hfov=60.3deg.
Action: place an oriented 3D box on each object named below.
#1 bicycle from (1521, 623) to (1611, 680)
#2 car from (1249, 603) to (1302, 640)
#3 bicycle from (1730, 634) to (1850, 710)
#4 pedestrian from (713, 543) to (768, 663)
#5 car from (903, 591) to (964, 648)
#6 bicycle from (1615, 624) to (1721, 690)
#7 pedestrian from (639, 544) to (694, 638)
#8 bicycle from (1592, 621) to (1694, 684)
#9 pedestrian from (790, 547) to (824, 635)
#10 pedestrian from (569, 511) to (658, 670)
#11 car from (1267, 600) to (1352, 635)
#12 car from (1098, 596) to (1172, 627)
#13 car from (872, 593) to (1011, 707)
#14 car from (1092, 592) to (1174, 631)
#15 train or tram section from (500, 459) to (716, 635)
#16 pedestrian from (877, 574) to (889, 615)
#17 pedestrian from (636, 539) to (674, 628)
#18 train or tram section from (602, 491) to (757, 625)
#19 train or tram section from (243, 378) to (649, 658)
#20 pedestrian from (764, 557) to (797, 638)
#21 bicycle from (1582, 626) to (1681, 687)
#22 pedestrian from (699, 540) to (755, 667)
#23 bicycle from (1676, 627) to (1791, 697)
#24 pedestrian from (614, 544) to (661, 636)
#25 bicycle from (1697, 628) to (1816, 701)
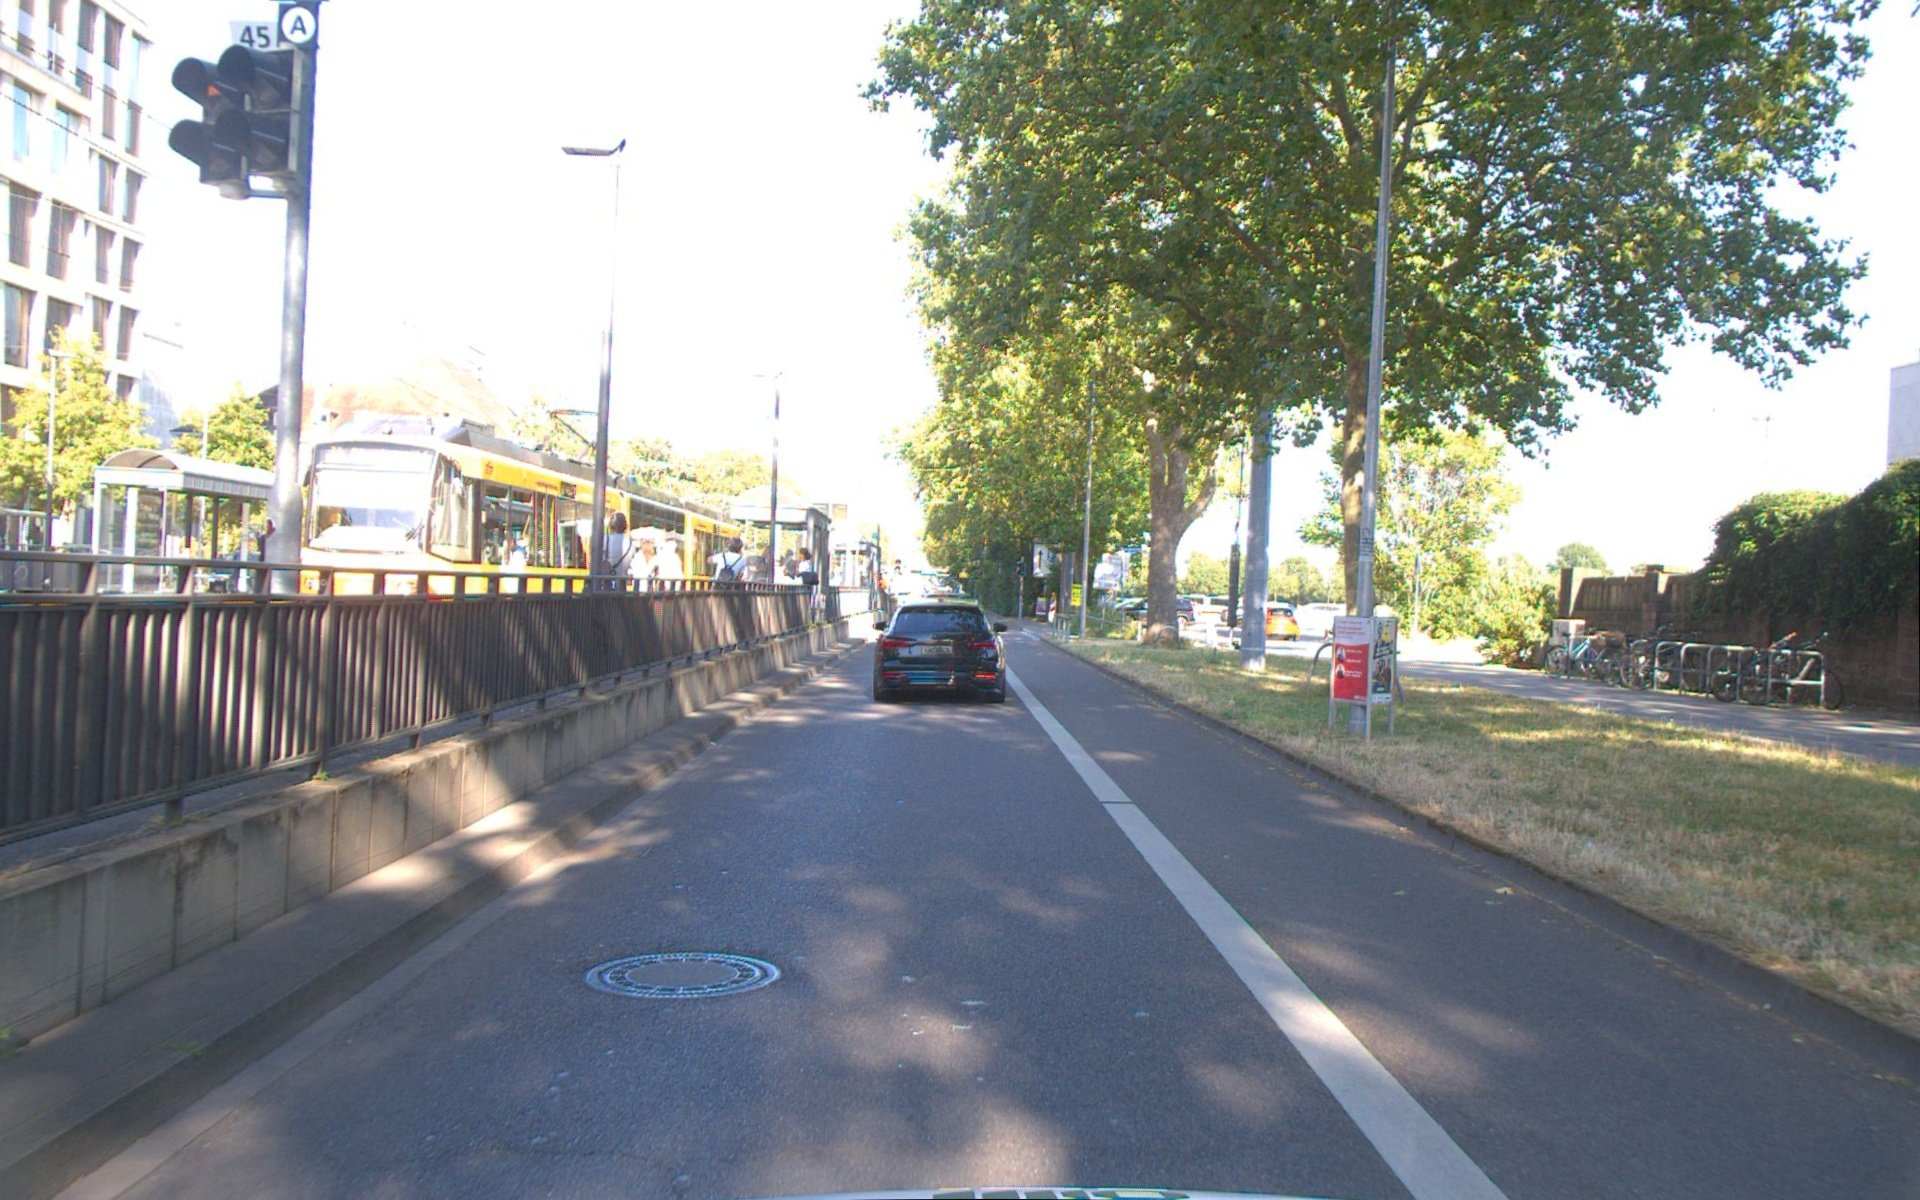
[{"bbox_3d":[12.609,1.079,34.408,1.740,1.140,0.439,1,0,-8],"label":"bicycle"},{"bbox_3d":[14.308,0.955,75.188,1.581,1.542,3.802,3,0,0],"label":"car"},{"bbox_3d":[12.983,1.127,25.883,1.653,1.140,0.439,1,0,-2],"label":"bicycle"},{"bbox_3d":[-3.148,0.040,23.731,0.602,1.671,0.610,3,0,-20],"label":"pedestrian"},{"bbox_3d":[-0.884,0.591,52.525,1.727,1.647,3.998,3,0,-3],"label":"car"},{"bbox_3d":[12.856,1.027,30.031,1.737,1.140,0.439,1,0,-2],"label":"bicycle"},{"bbox_3d":[-5.832,-0.183,32.832,0.788,1.815,0.639,3,0,-41],"label":"pedestrian"},{"bbox_3d":[12.851,0.988,31.117,1.737,1.140,0.439,1,0,-2],"label":"bicycle"},{"bbox_3d":[-3.250,-0.194,35.111,0.599,1.815,0.613,2,0,-1],"label":"pedestrian"},{"bbox_3d":[-3.542,-0.094,16.961,0.601,1.575,0.725,2,0,9],"label":"pedestrian"},{"bbox_3d":[19.506,0.968,92.430,4.365,1.687,1.918,3,0,3],"label":"car"},{"bbox_3d":[9.649,0.614,91.409,3.806,1.531,1.888,3,0,0],"label":"car"},{"bbox_3d":[-0.329,0.661,23.765,1.841,1.482,3.355,1,0,-3],"label":"car"},{"bbox_3d":[8.786,0.577,84.067,3.906,1.795,1.833,3,0,0],"label":"car"},{"bbox_3d":[-8.999,-1.243,44.075,3.242,3.896,11.841,3,0,-1],"label":"train or tram section"},{"bbox_3d":[-3.370,-0.244,72.235,0.403,1.746,0.665,3,0,-1],"label":"pedestrian"},{"bbox_3d":[-6.413,-0.346,34.805,0.599,1.815,0.775,2,0,-1],"label":"pedestrian"},{"bbox_3d":[-9.200,-1.284,55.923,3.242,3.896,11.841,3,0,-1],"label":"train or tram section"},{"bbox_3d":[-8.771,-1.206,31.053,3.242,3.896,14.216,3,0,-1],"label":"train or tram section"},{"bbox_3d":[-4.102,-0.052,37.871,0.597,1.815,0.681,2,0,-1],"label":"pedestrian"},{"bbox_3d":[13.057,1.096,32.167,1.737,1.140,0.439,1,0,-2],"label":"bicycle"},{"bbox_3d":[-3.192,0.041,22.735,0.599,1.697,0.613,2,0,1],"label":"pedestrian"},{"bbox_3d":[13.041,1.041,27.901,1.737,1.140,0.439,1,0,-2],"label":"bicycle"},{"bbox_3d":[-6.563,-0.204,33.680,0.777,1.815,0.625,3,0,-1],"label":"pedestrian"},{"bbox_3d":[12.973,1.050,26.950,1.737,1.140,0.439,1,0,-2],"label":"bicycle"}]
